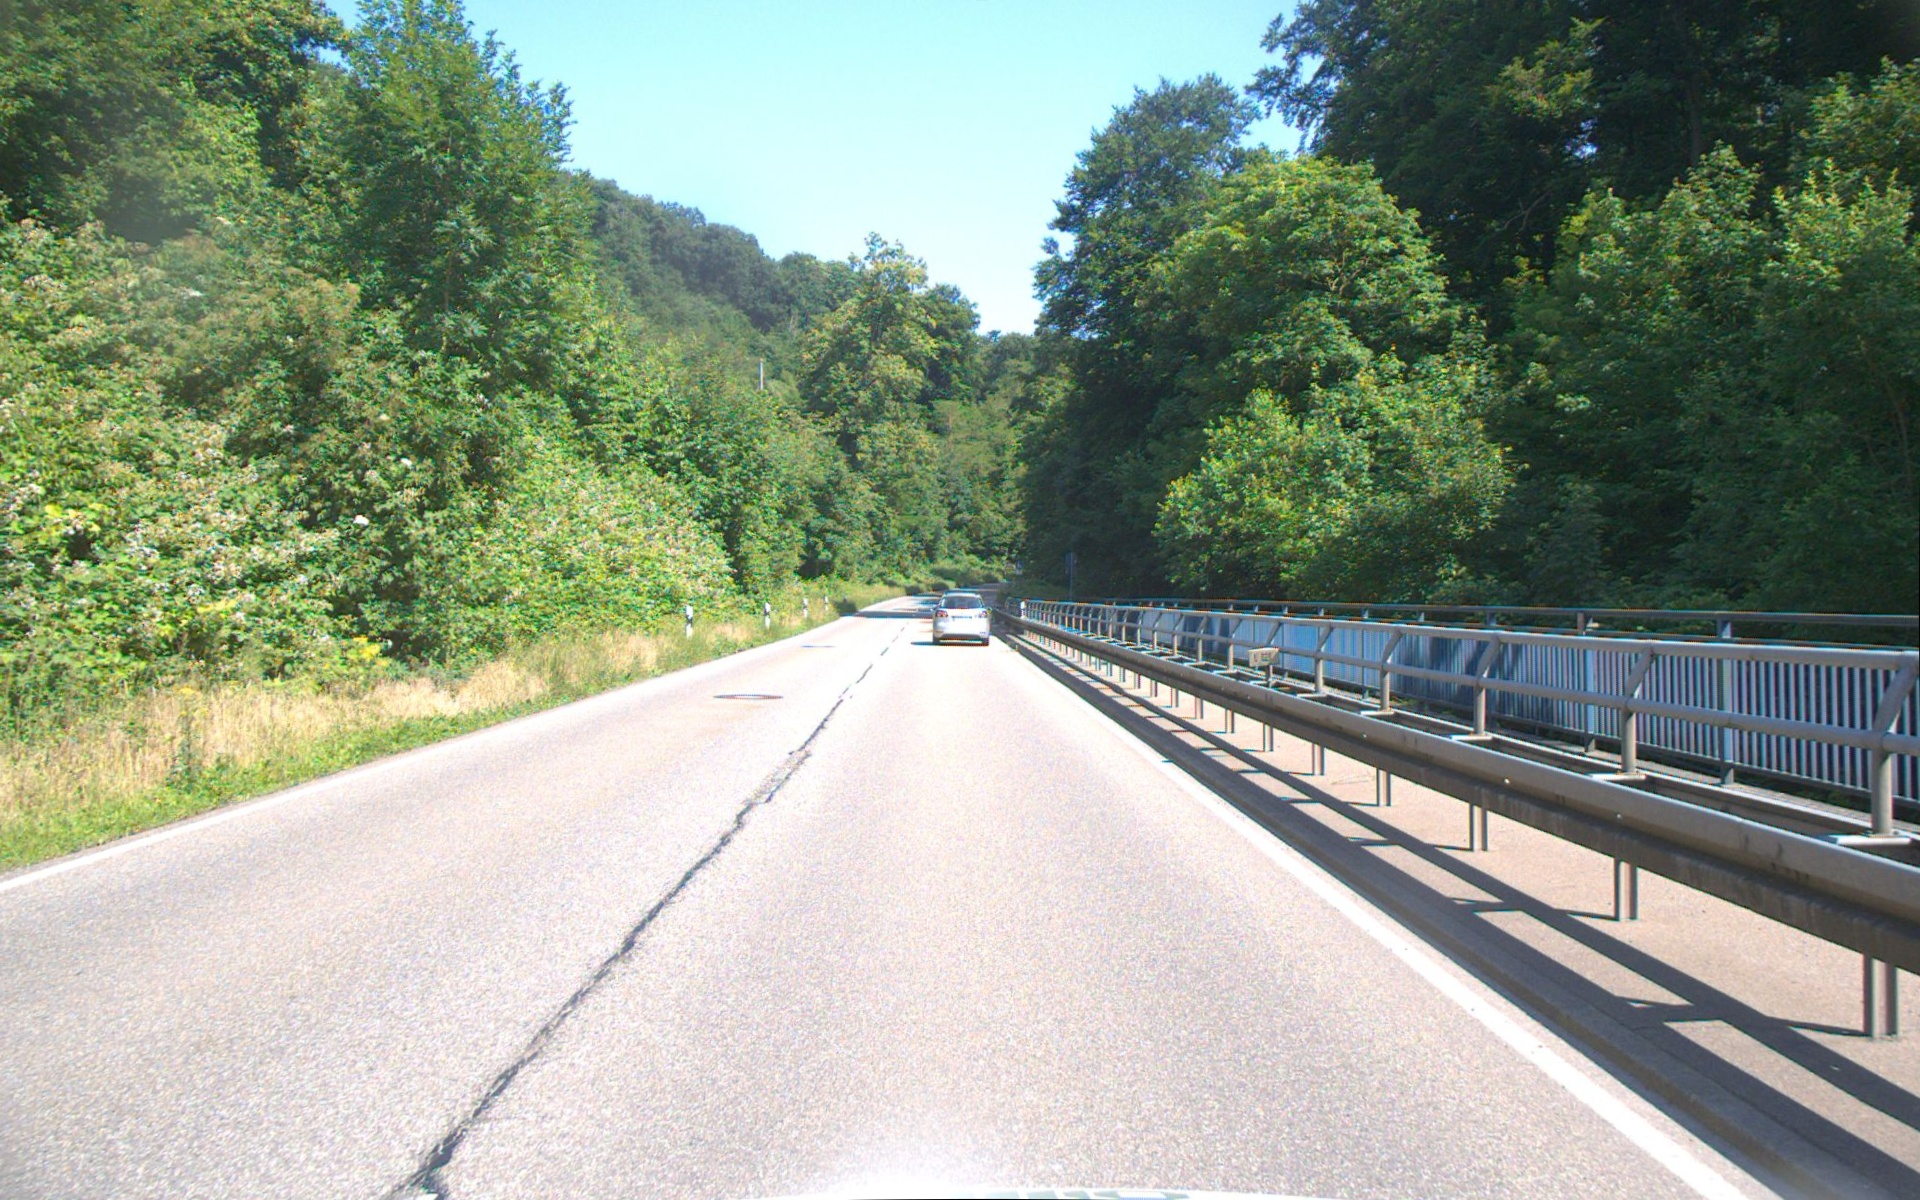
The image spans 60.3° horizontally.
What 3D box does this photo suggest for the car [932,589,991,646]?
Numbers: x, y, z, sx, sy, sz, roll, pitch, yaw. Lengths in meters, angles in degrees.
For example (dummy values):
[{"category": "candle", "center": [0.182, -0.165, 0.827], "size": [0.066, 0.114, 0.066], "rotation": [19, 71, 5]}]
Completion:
[{"category": "car", "center": [0.010, 0.495, 50.569], "size": [1.716, 1.546, 4.159], "rotation": [1, 1, -1]}]
